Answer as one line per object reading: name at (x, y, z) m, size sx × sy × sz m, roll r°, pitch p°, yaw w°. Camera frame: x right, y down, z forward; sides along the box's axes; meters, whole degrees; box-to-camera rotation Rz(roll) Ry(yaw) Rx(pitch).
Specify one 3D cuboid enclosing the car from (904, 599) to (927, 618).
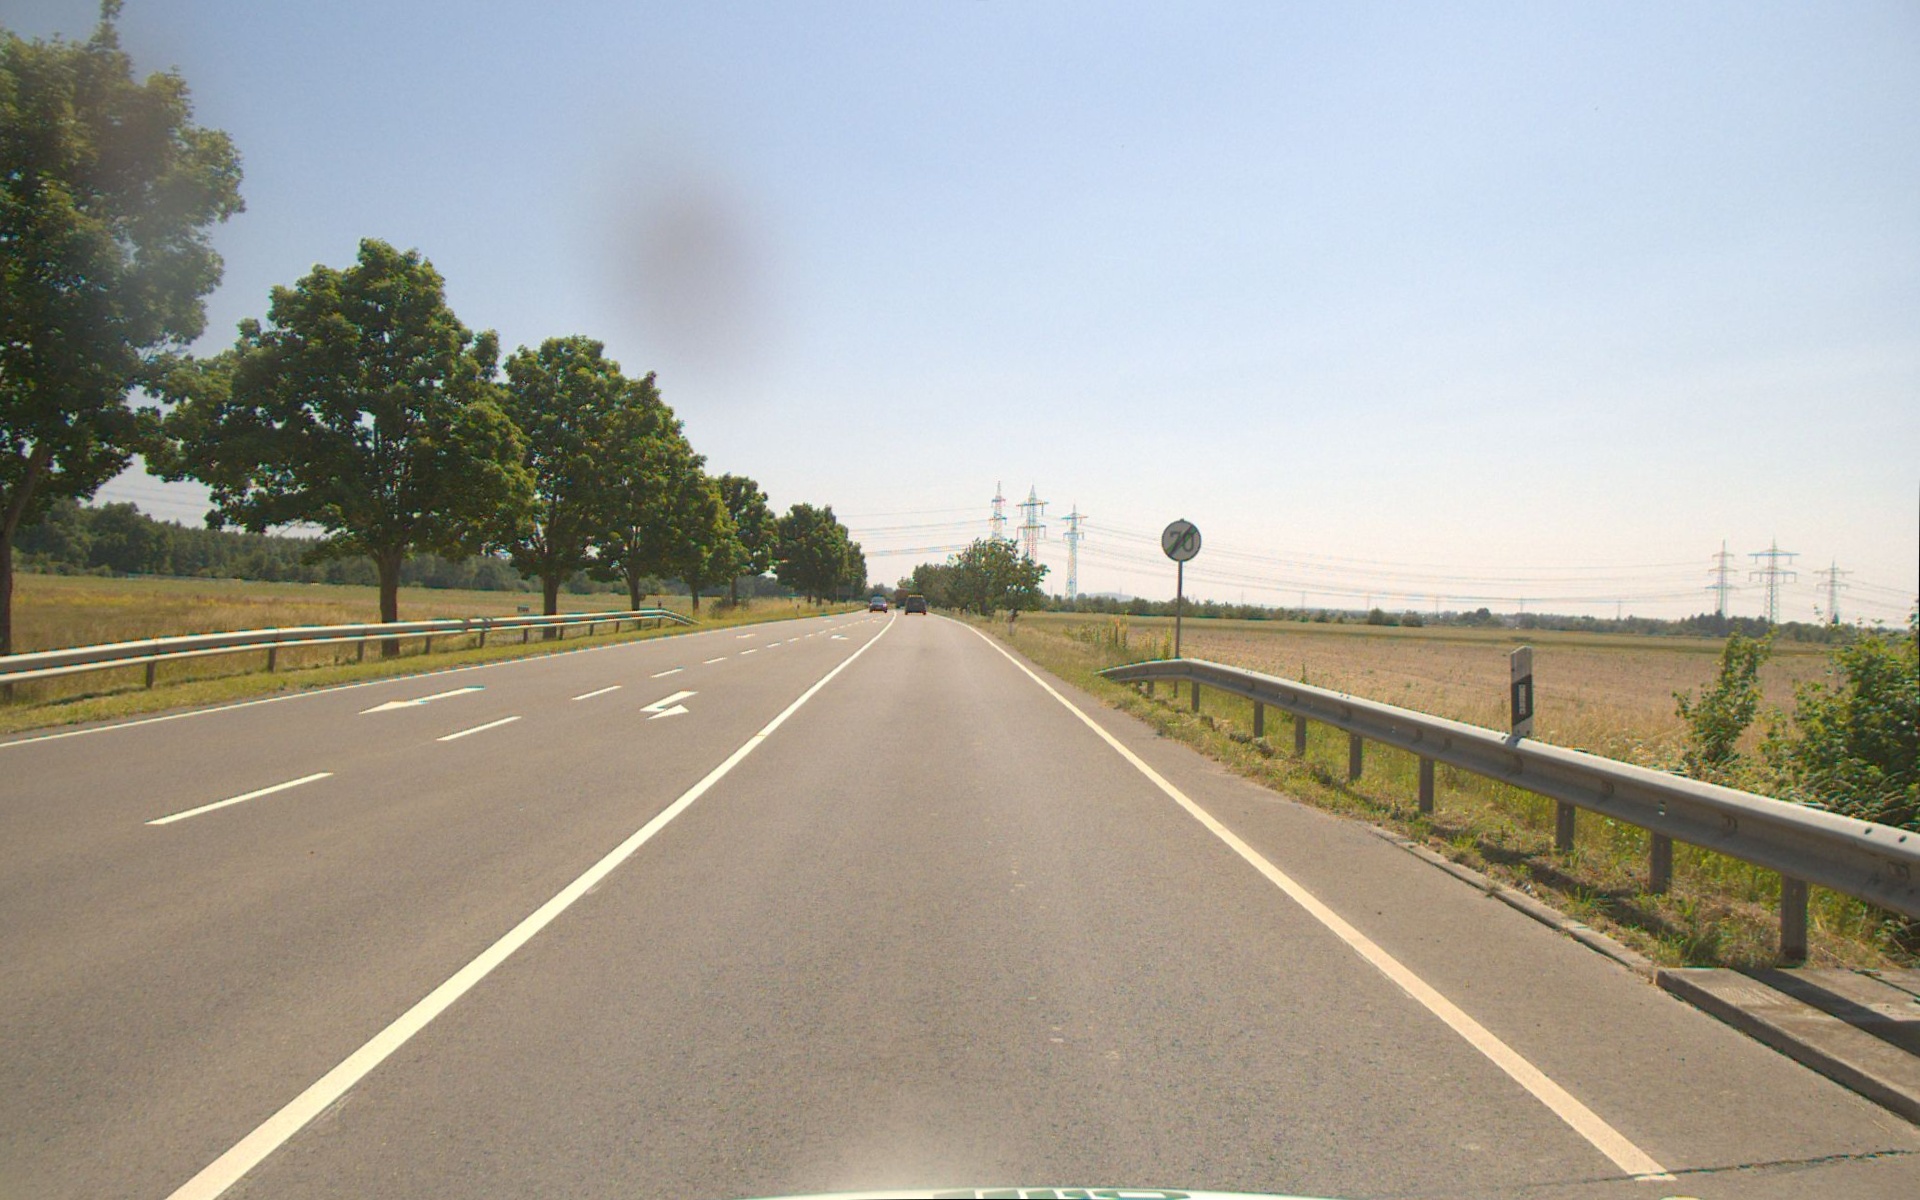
car at (-3.942, 0.734, 146.289) m, size 1.847 × 1.544 × 4.037 m, roll 4°, pitch 0°, yaw -3°

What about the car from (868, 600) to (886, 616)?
car at (-8.256, 0.759, 164.498) m, size 1.704 × 1.499 × 4.616 m, roll 1°, pitch 0°, yaw -3°
